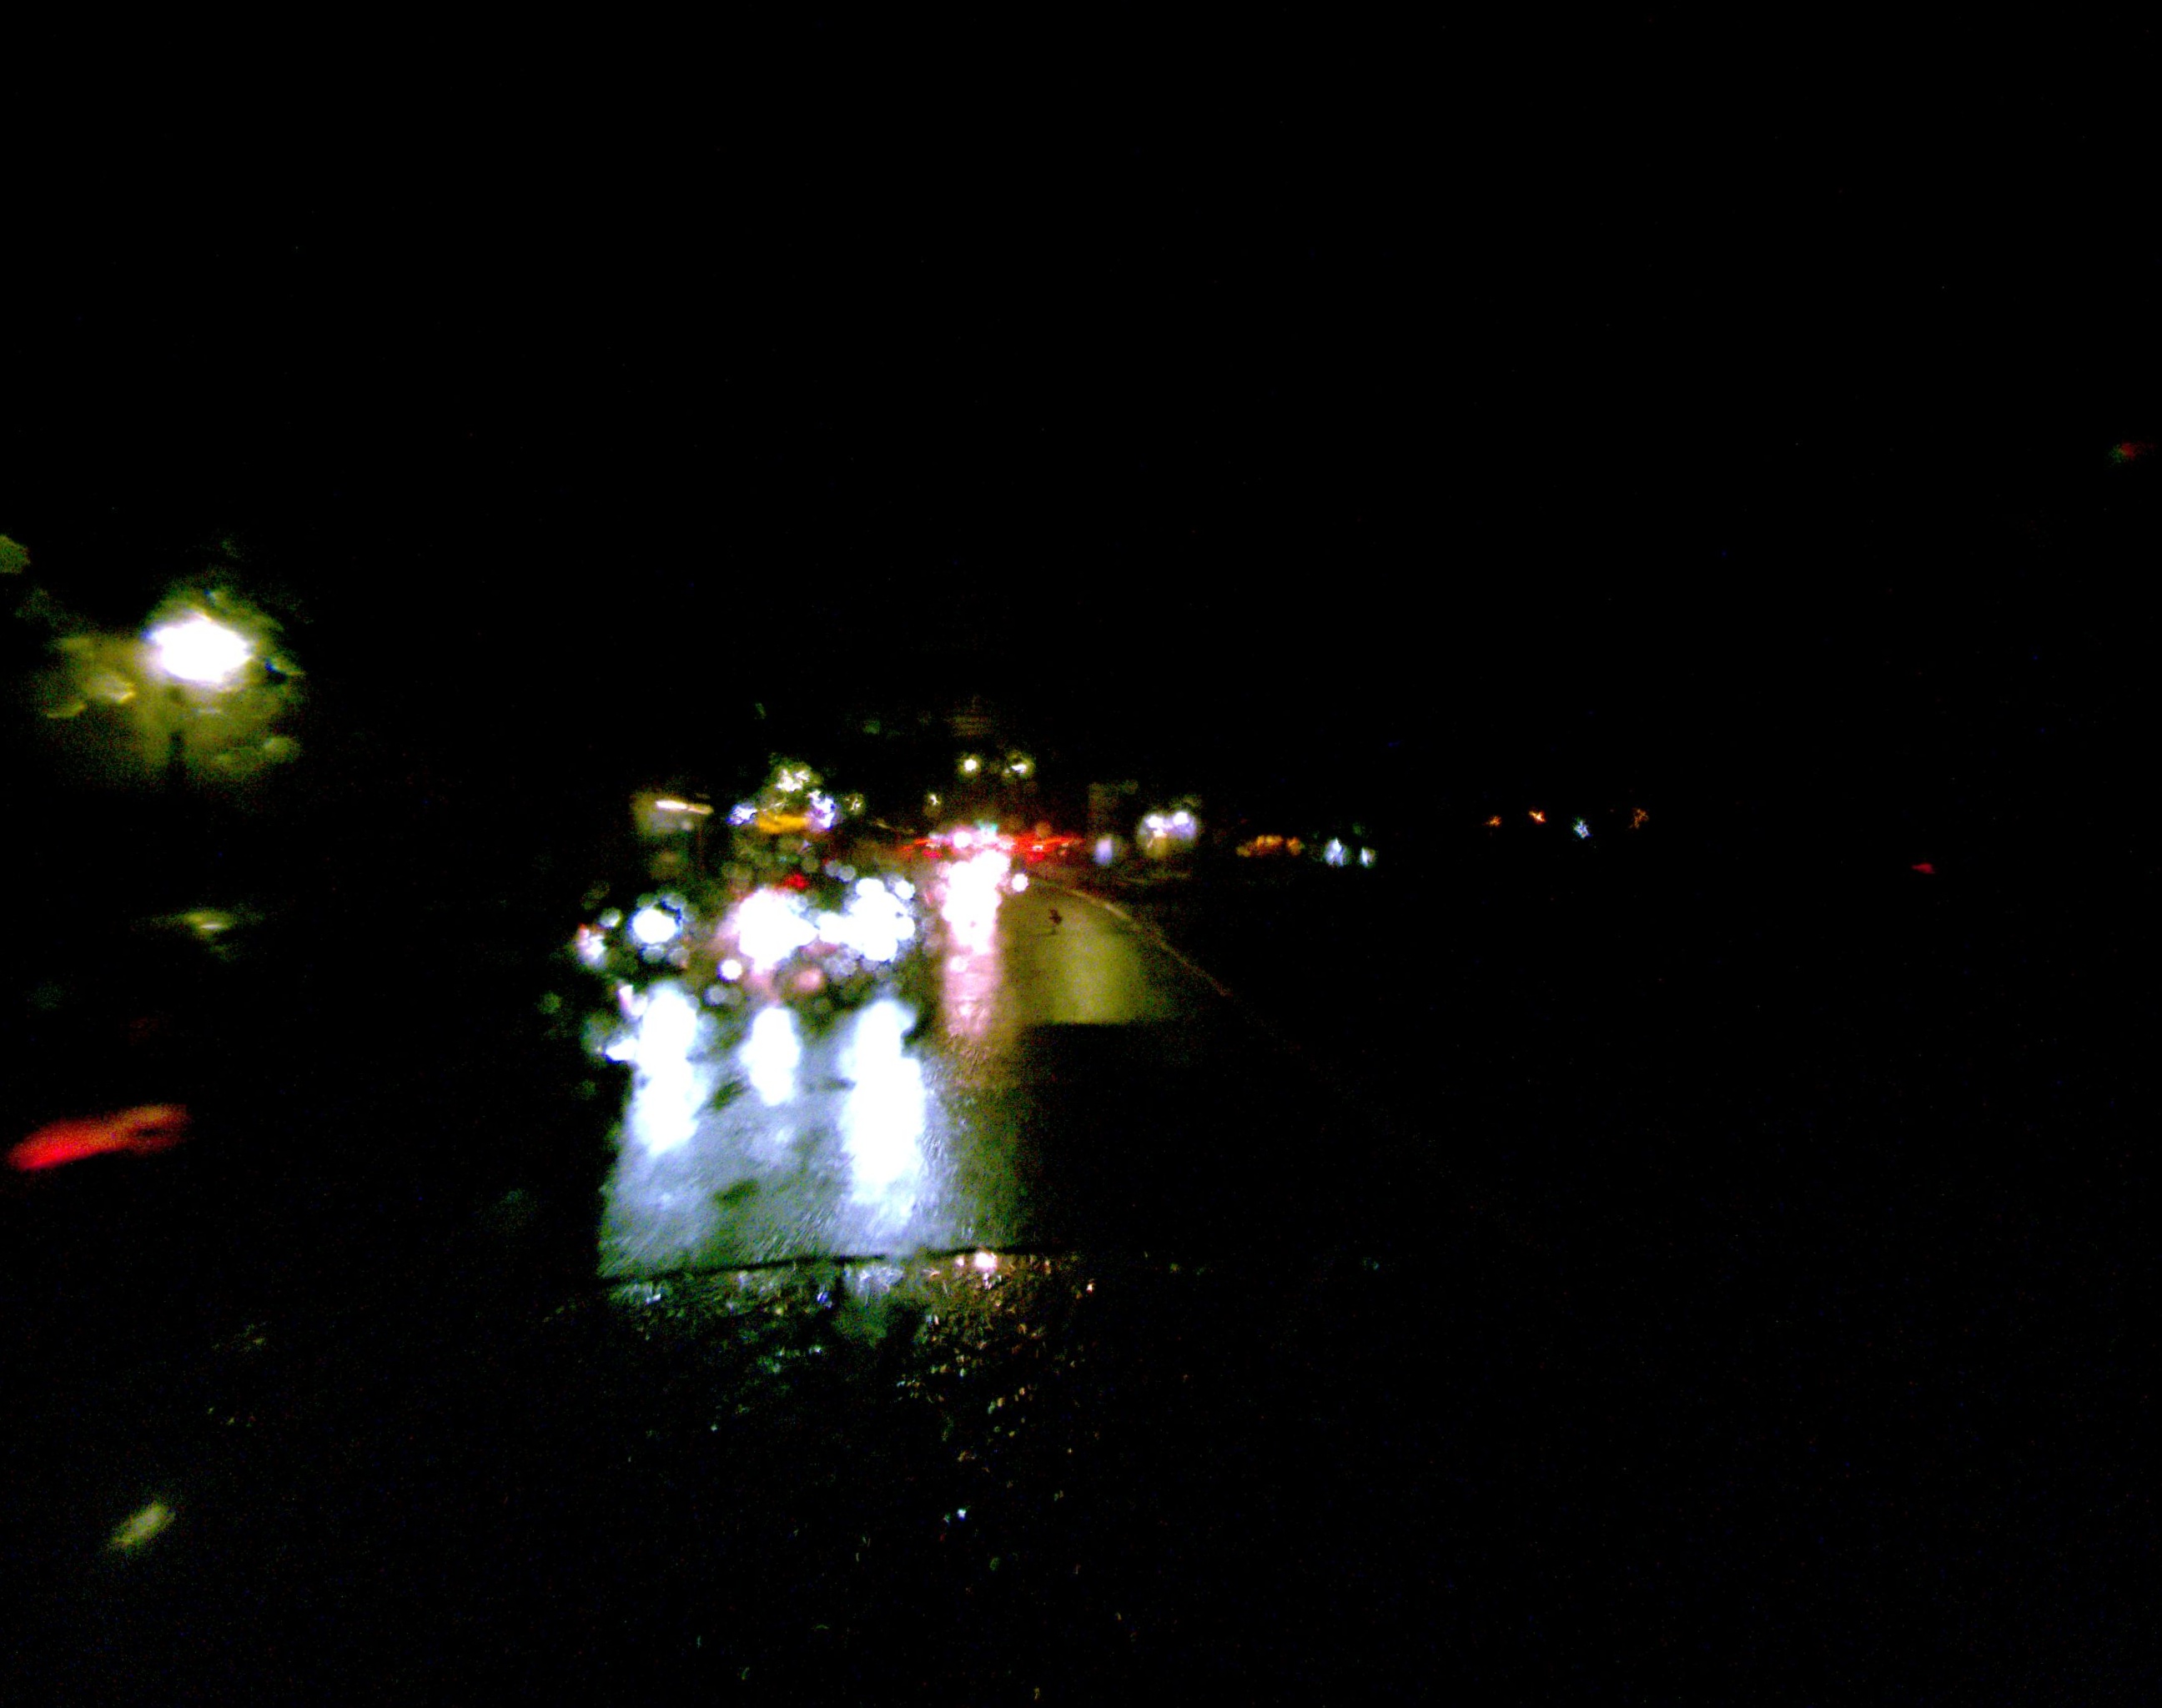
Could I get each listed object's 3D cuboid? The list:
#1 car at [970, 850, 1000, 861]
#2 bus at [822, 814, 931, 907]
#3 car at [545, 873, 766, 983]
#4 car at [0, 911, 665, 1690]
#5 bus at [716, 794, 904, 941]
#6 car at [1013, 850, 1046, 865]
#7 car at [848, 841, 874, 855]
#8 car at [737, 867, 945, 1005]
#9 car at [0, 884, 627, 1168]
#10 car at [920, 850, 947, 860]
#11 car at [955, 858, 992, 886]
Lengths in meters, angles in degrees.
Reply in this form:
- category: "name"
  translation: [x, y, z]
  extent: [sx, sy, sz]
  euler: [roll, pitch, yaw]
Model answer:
- category: "car"
  translation: [-12.329, 0.195, 97.266]
  extent: [1.904, 1.381, 4.600]
  euler: [-2, 1, -33]
- category: "bus"
  translation: [-8.176, 0.180, 31.719]
  extent: [2.742, 3.219, 9.694]
  euler: [-1, 1, -5]
- category: "car"
  translation: [-7.080, 1.136, 13.191]
  extent: [1.725, 1.478, 4.160]
  euler: [0, 0, -4]
- category: "car"
  translation: [-3.167, 1.063, 2.106]
  extent: [1.724, 1.438, 4.161]
  euler: [-1, 0, 0]
- category: "bus"
  translation: [-7.254, 0.260, 22.057]
  extent: [2.742, 3.258, 9.694]
  euler: [-1, 1, -5]
- category: "car"
  translation: [-5.404, 0.344, 79.351]
  extent: [1.604, 1.528, 4.301]
  euler: [-2, 1, -32]
- category: "car"
  translation: [-23.565, -0.645, 81.340]
  extent: [1.712, 1.382, 3.990]
  euler: [-2, 1, -32]
- category: "car"
  translation: [-3.325, 1.046, 11.448]
  extent: [1.724, 1.478, 4.161]
  euler: [-4, 0, 0]
- category: "car"
  translation: [-6.439, 1.129, 6.940]
  extent: [1.724, 1.478, 4.786]
  euler: [0, 0, 0]
- category: "car"
  translation: [-21.145, 0.139, 108.903]
  extent: [1.904, 1.381, 4.828]
  euler: [-2, 1, -35]
- category: "car"
  translation: [-6.188, 1.000, 43.359]
  extent: [1.757, 1.438, 3.968]
  euler: [0, 0, -13]
